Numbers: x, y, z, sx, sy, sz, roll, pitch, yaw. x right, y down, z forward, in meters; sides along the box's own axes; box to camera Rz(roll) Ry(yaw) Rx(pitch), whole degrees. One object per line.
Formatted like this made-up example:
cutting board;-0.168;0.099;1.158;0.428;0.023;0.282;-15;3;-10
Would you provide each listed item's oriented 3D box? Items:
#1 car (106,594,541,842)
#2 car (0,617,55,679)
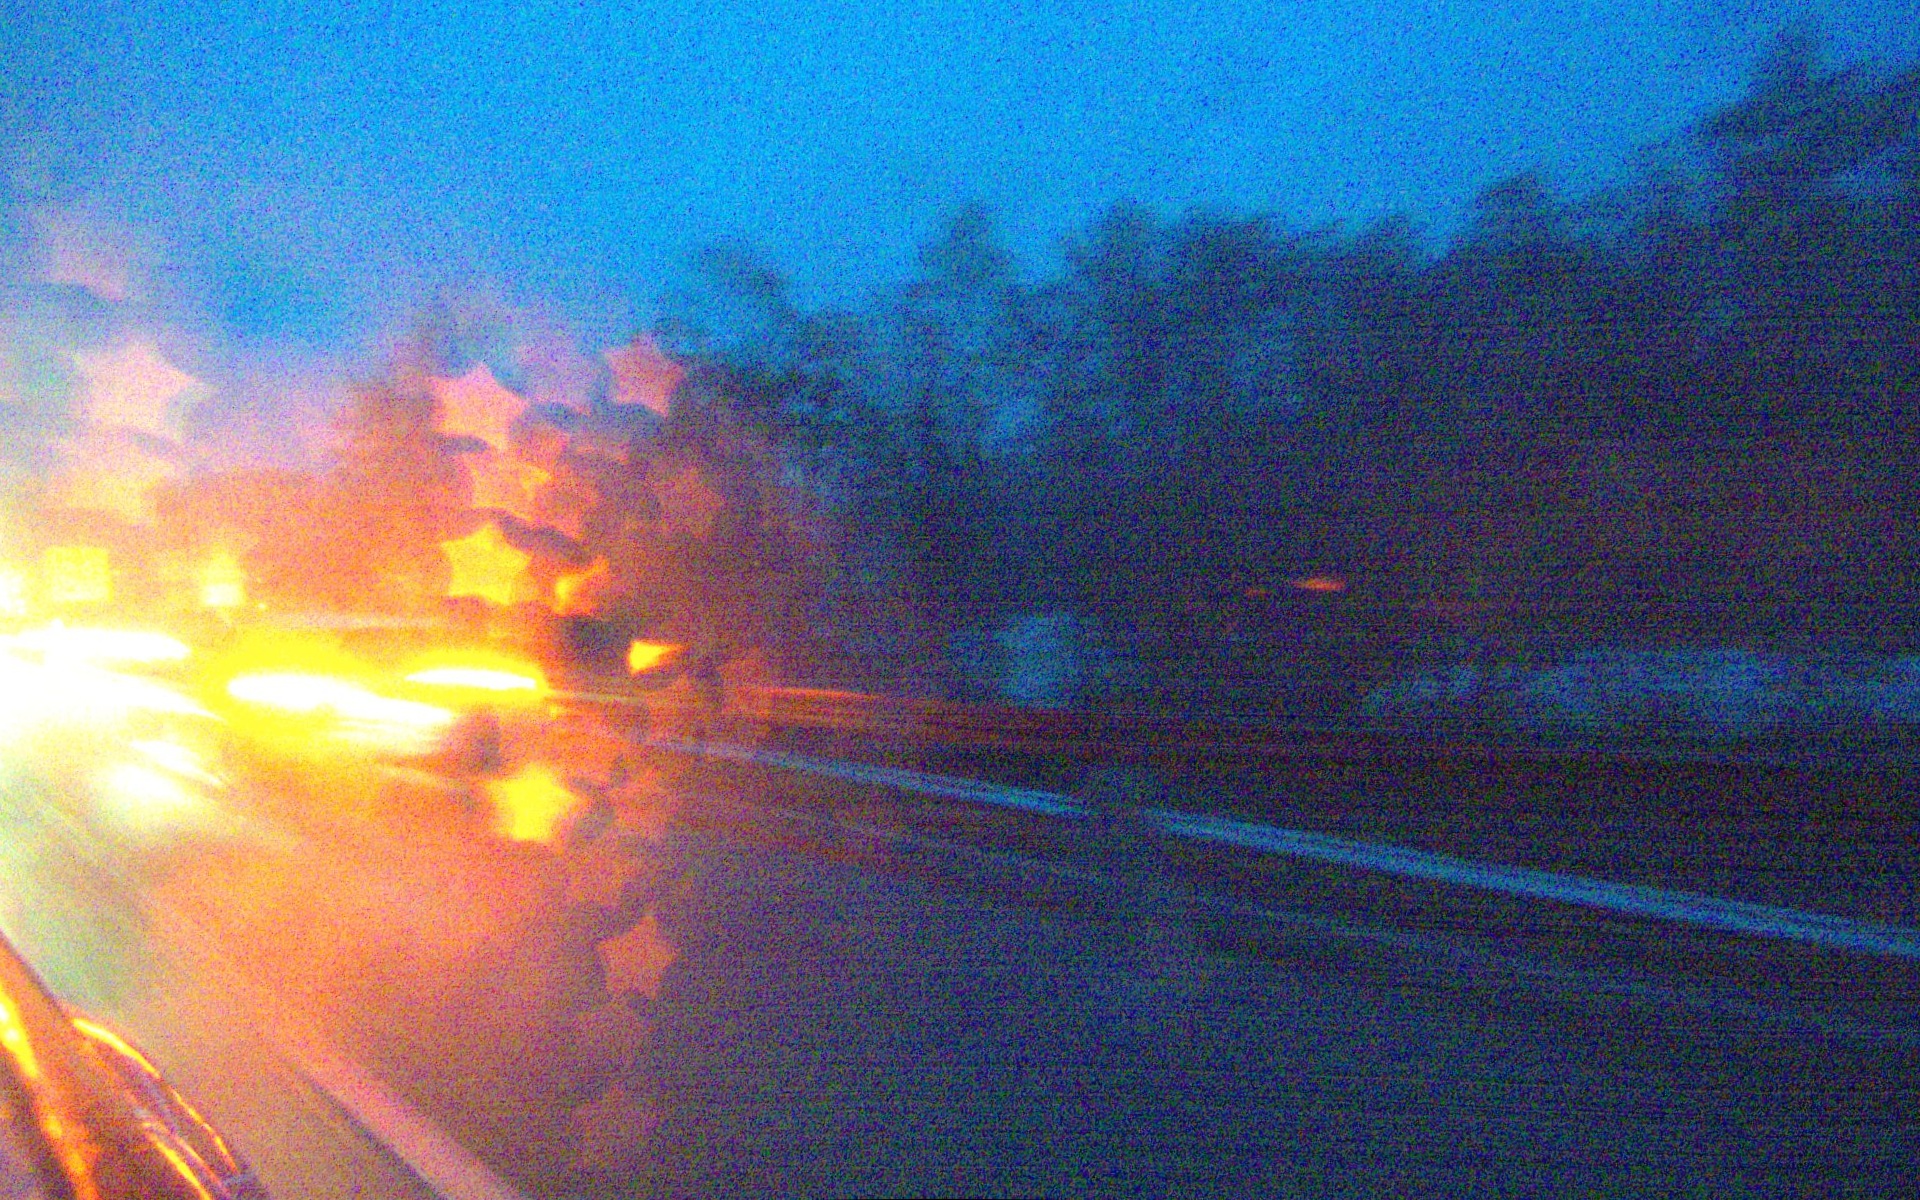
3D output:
car;-5.629;0.795;8.664;4.678;1.533;1.836;-2;0;41
car;-24.974;1.232;26.130;4.281;1.473;1.954;-2;0;43
